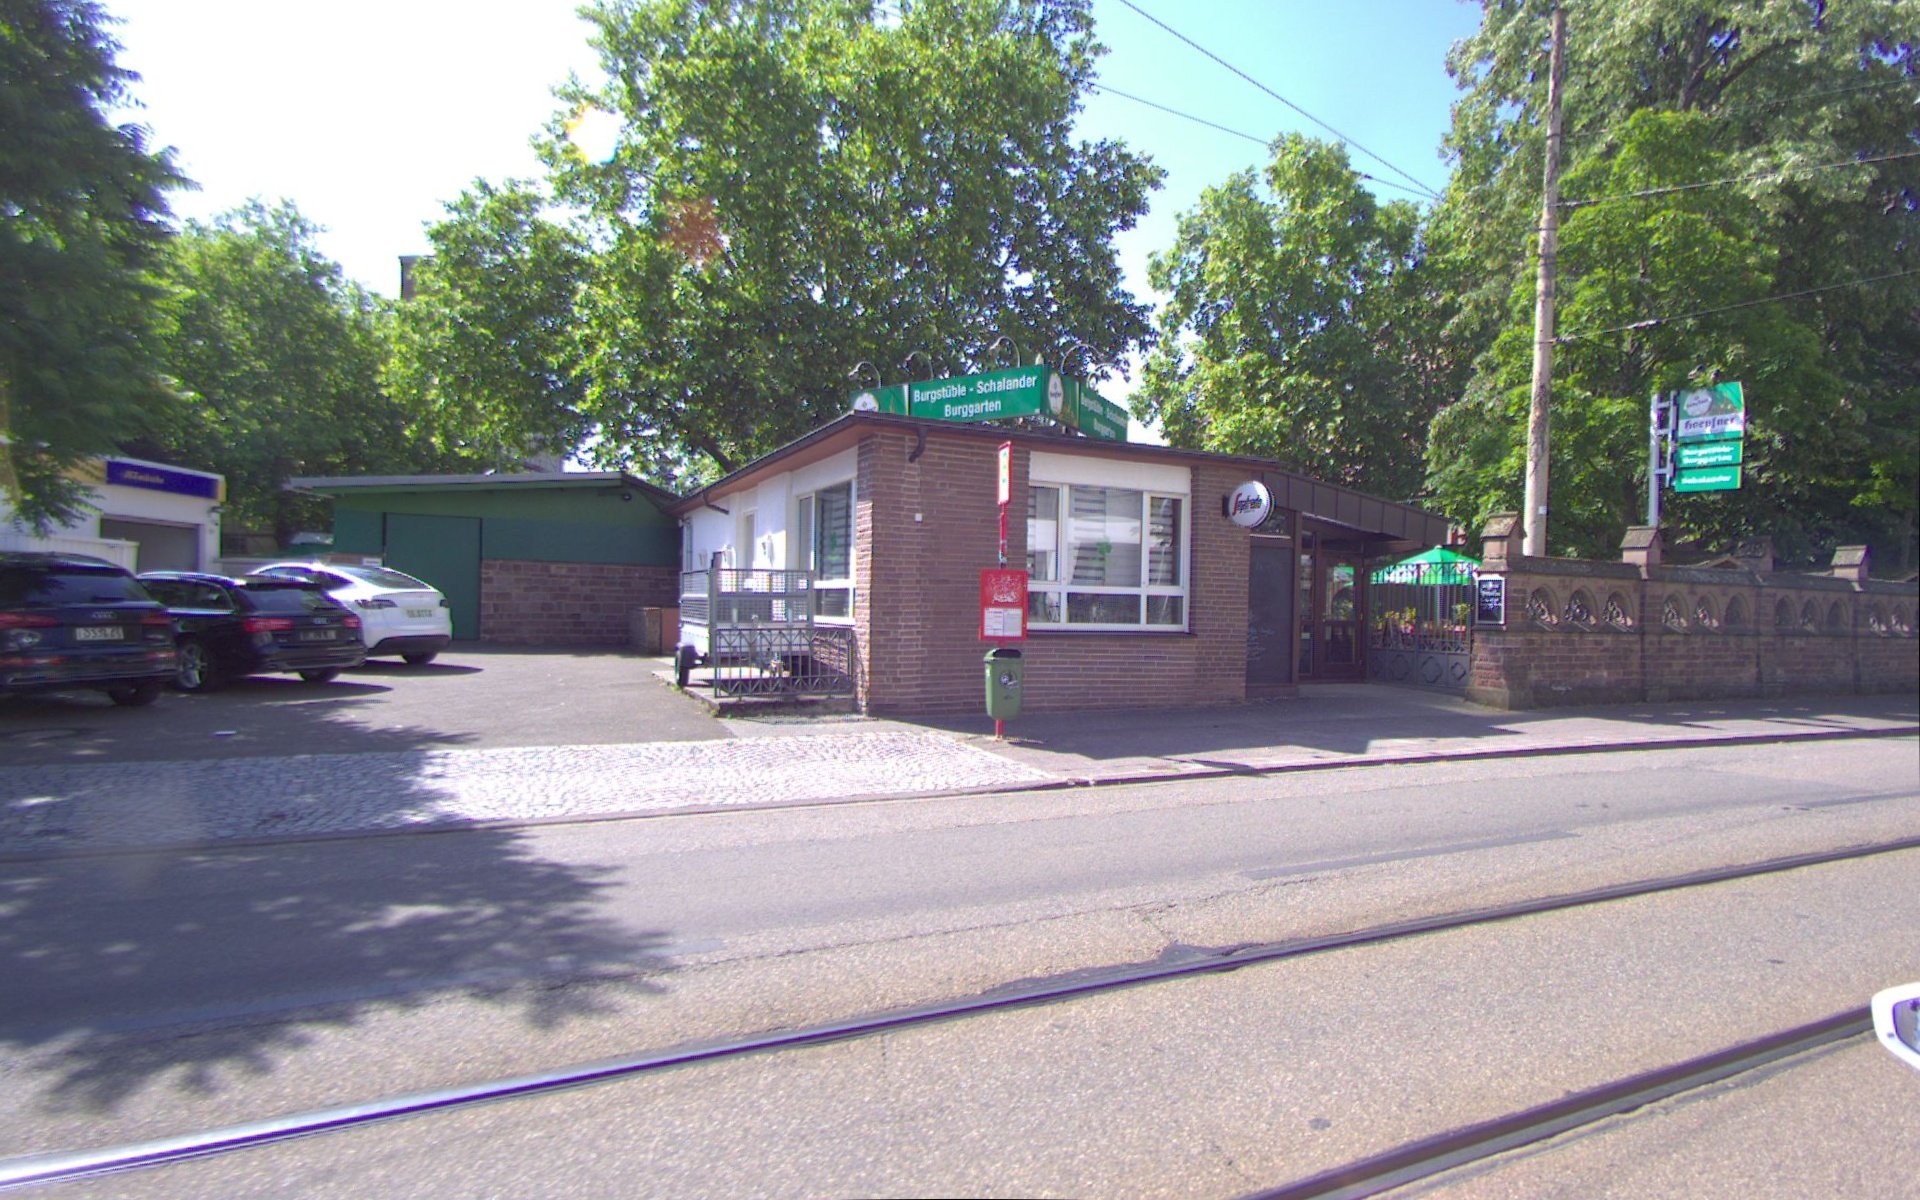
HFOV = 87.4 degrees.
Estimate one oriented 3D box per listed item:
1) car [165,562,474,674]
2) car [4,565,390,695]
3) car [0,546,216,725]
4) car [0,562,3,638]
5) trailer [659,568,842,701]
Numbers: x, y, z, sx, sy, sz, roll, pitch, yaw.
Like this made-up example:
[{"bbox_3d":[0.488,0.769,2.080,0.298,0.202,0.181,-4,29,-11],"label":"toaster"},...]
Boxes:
[{"bbox_3d":[-10.559,0.250,16.594,4.488,1.604,1.949,1,0,20],"label":"car"},{"bbox_3d":[-10.226,0.337,13.507,4.488,1.487,1.950,1,0,19],"label":"car"},{"bbox_3d":[-10.607,0.282,10.822,4.488,1.647,1.950,1,0,19],"label":"car"},{"bbox_3d":[-20.380,-0.029,18.284,1.899,1.547,4.171,2,0,0],"label":"car"},{"bbox_3d":[-2.912,0.398,13.481,1.753,1.546,3.206,1,0,-24],"label":"trailer"}]
